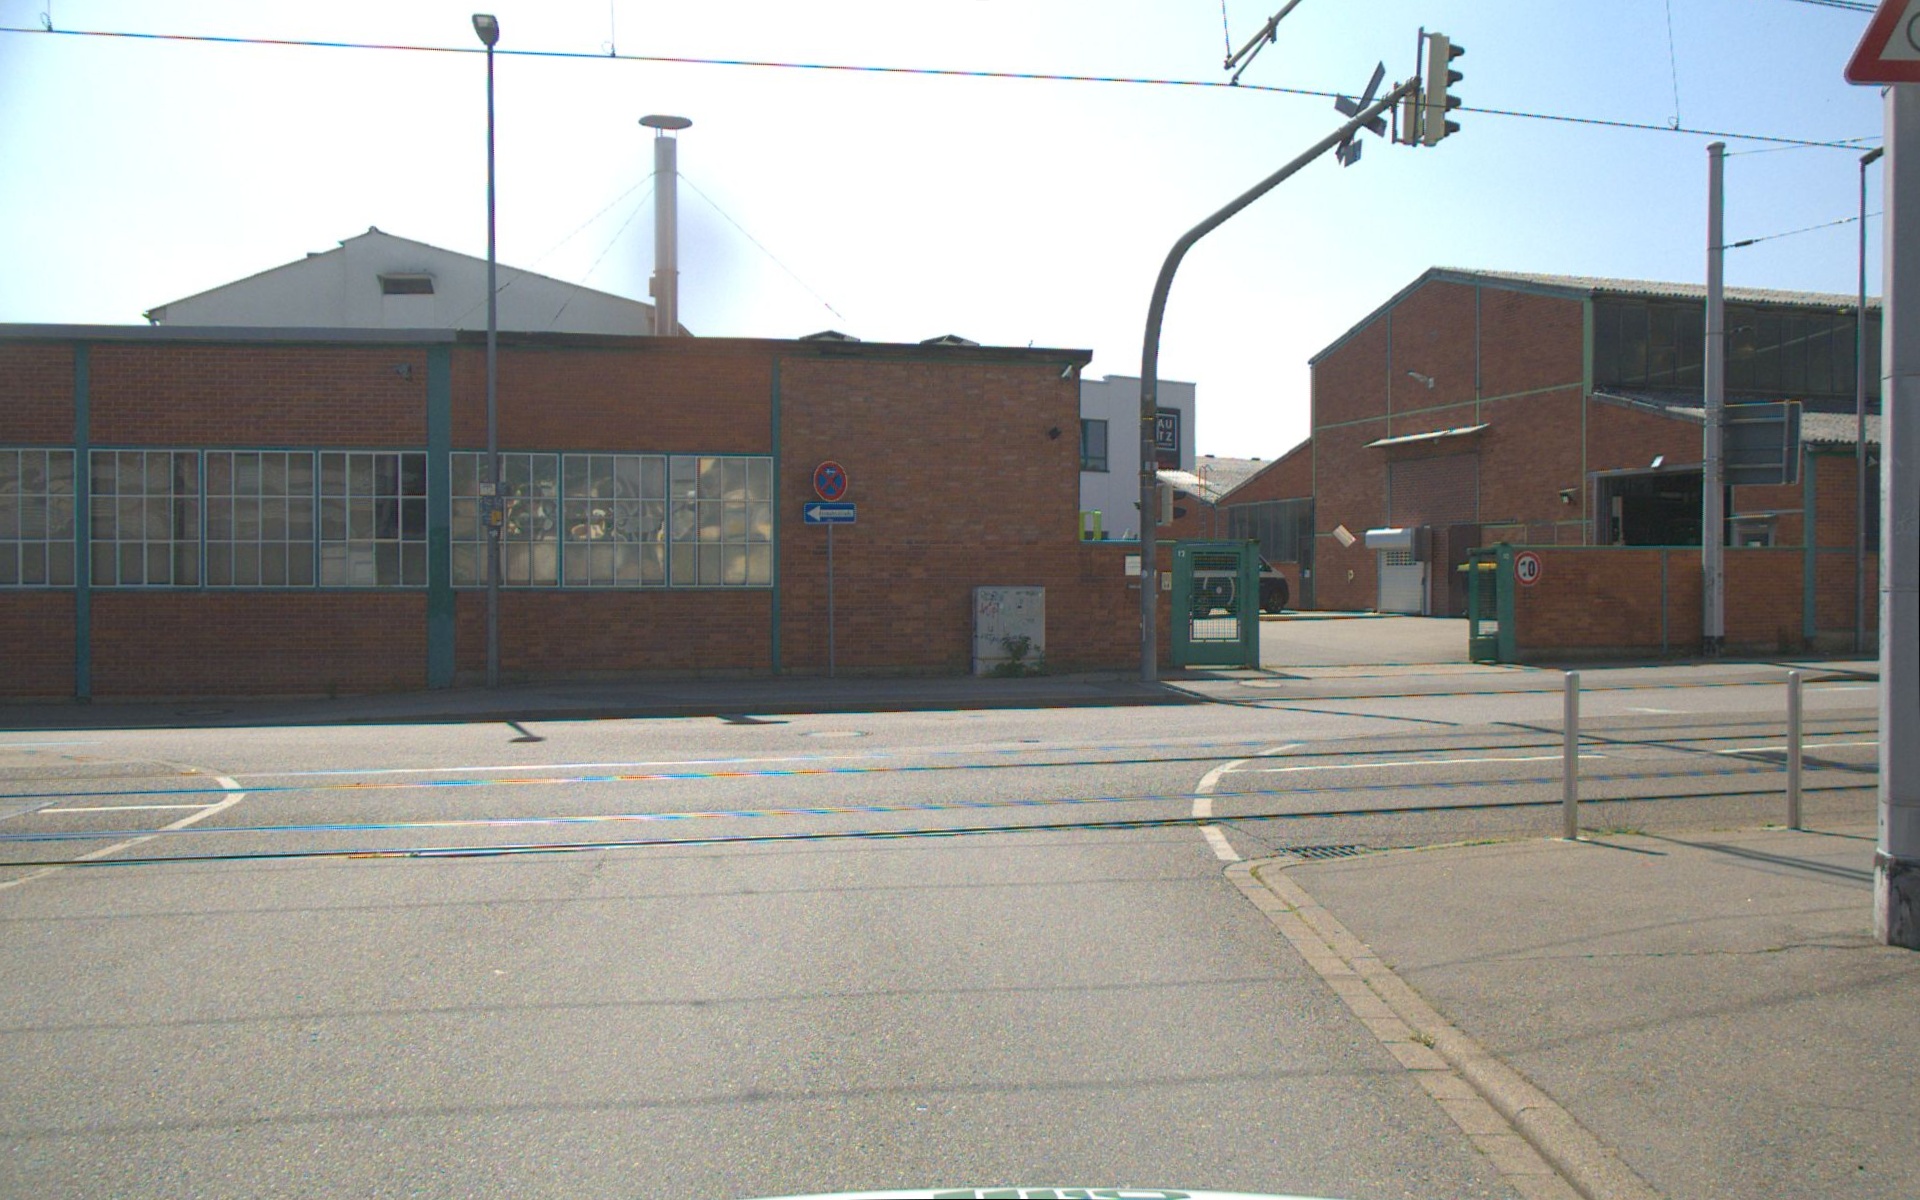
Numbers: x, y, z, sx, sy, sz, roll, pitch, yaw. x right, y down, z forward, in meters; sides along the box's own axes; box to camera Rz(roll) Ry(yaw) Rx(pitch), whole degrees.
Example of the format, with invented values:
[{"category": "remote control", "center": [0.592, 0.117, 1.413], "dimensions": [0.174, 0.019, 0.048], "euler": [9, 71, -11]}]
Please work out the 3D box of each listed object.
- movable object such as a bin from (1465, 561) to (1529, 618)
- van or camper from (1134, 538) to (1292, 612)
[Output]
[{"category": "movable object such as a bin", "center": [12.885, -0.253, 39.711], "dimensions": [0.959, 1.337, 1.147], "euler": [-1, 1, -18]}, {"category": "van or camper", "center": [7.271, -0.694, 47.399], "dimensions": [4.374, 1.933, 1.974], "euler": [2, 0, -37]}]
